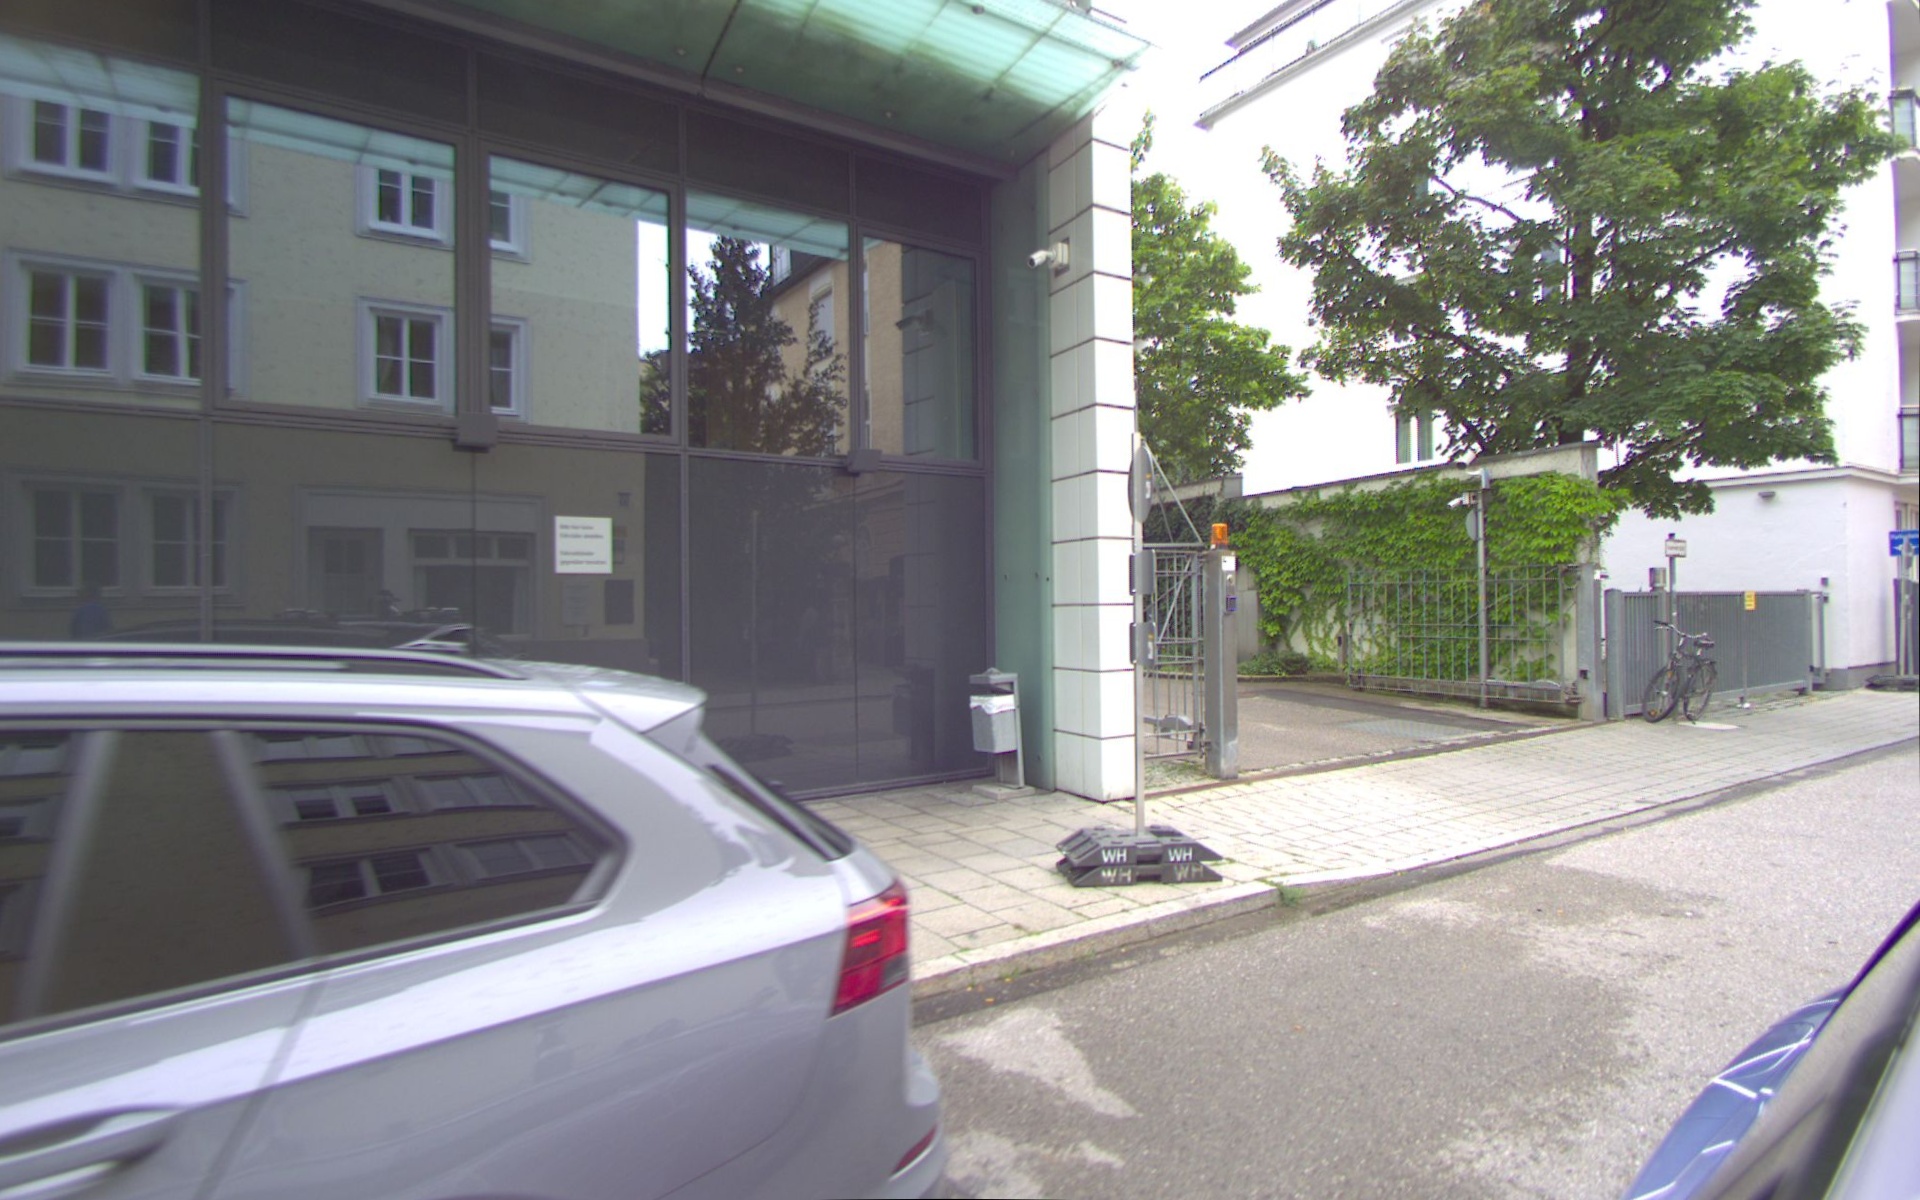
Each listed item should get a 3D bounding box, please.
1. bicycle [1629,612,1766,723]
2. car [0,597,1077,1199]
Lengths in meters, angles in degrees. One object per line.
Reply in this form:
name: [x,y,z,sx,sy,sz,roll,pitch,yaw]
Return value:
bicycle: [8.700,0.778,11.917,1.797,1.214,0.710,3,-2,-33]
car: [-2.017,0.757,1.380,4.246,1.451,1.713,-1,-1,-34]
